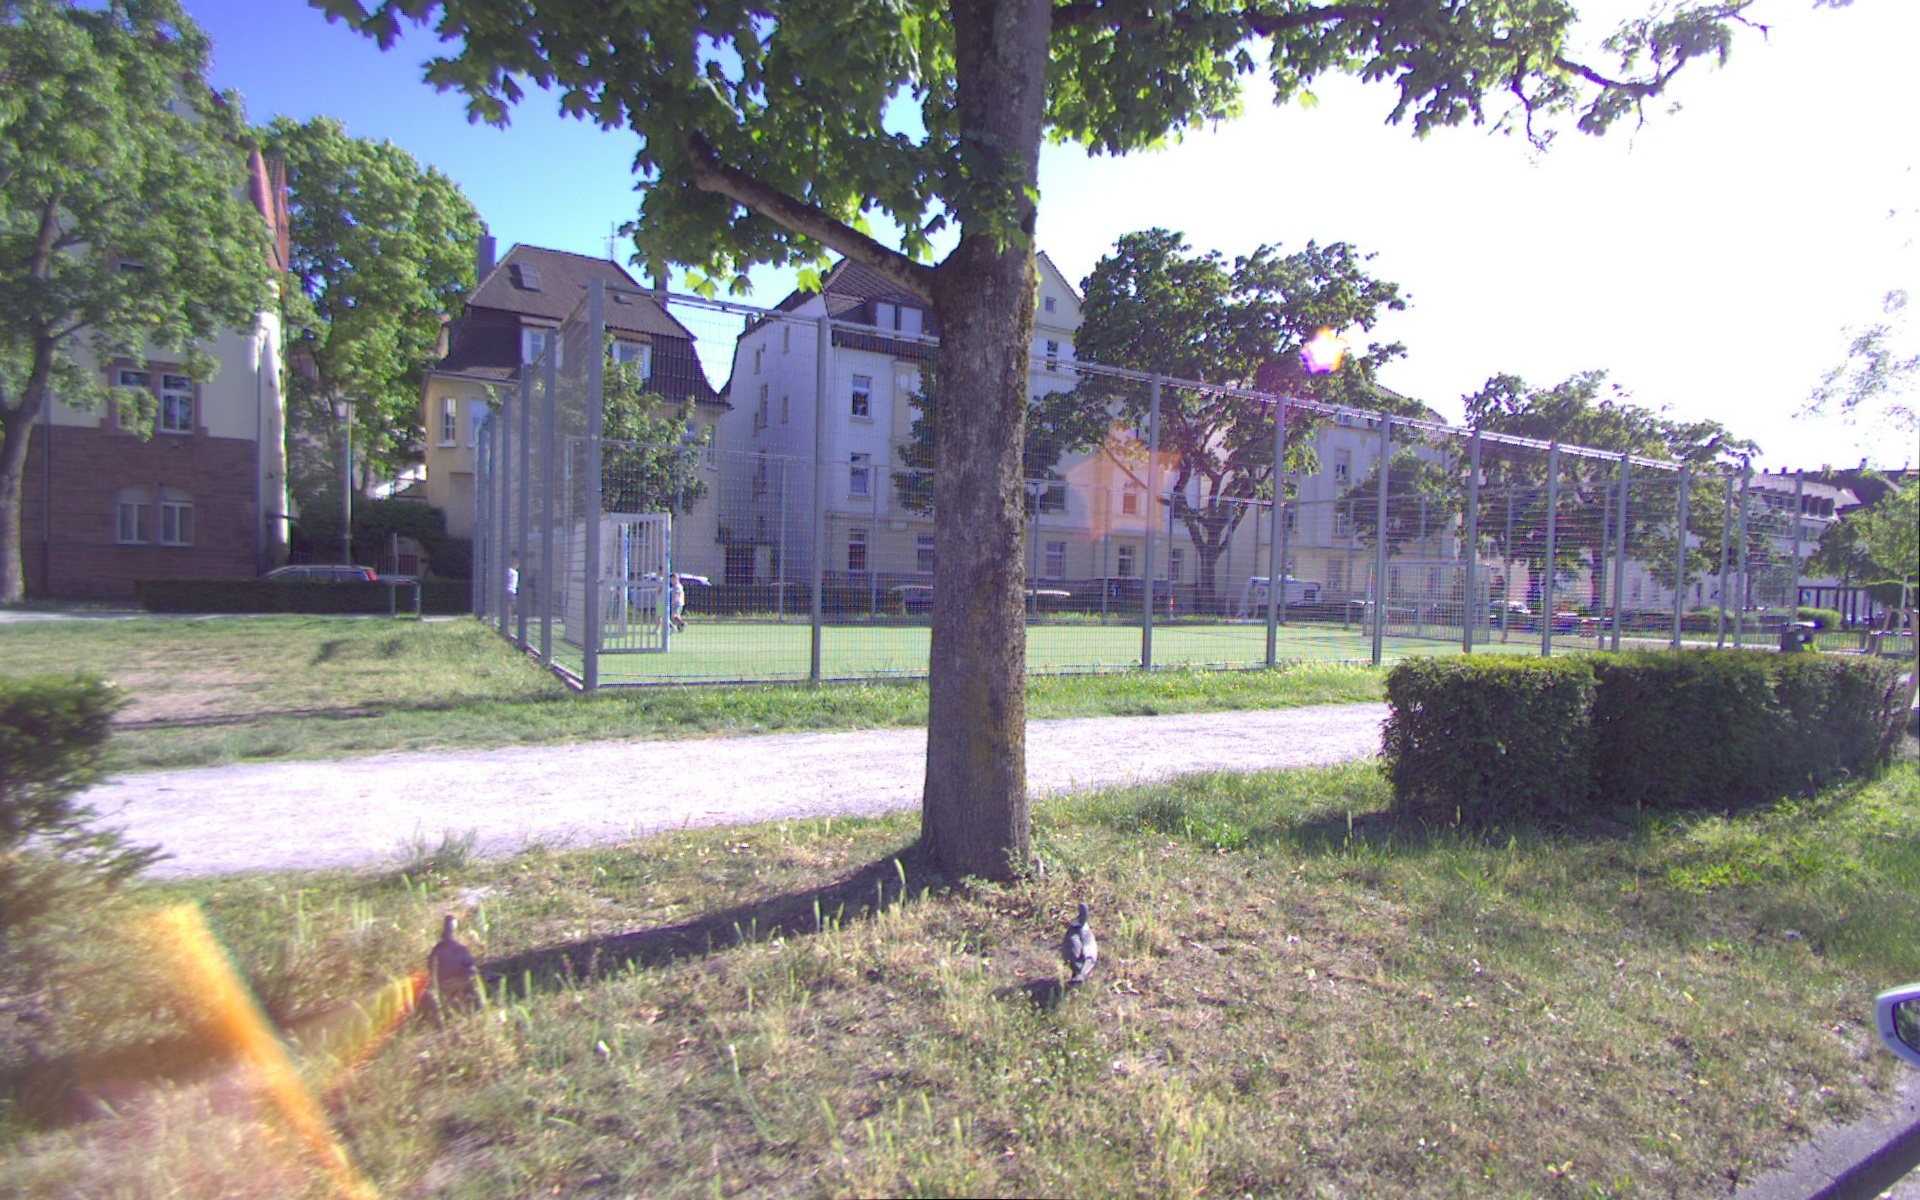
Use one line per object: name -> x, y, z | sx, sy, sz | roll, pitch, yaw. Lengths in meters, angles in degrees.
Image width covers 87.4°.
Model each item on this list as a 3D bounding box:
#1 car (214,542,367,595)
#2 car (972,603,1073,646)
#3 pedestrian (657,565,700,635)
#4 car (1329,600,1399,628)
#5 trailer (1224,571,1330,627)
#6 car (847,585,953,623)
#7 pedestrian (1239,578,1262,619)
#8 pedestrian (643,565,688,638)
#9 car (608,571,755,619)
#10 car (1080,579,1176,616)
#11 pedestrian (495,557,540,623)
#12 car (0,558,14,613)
car -> -21.319, -1.002, 32.184 | 3.953, 1.530, 1.785 | 1, 2, -30
car -> 2.906, 1.124, 46.440 | 4.436, 1.801, 1.785 | 1, 2, -30
pedestrian -> -5.540, -0.015, 19.805 | 0.637, 1.336, 0.650 | 2, 2, -1
car -> 24.117, 0.834, 59.956 | 3.953, 1.530, 1.785 | 1, 2, -30
trailer -> 17.692, -0.040, 55.950 | 5.736, 2.909, 2.331 | 1, 2, -31
car -> -2.565, 0.182, 43.233 | 4.182, 1.530, 1.785 | 1, 2, -30
pedestrian -> 12.256, -0.064, 42.418 | 0.642, 1.683, 0.645 | 1, 1, -30
pedestrian -> -5.550, 0.016, 18.970 | 0.637, 1.336, 0.650 | 2, 2, -1
car -> -10.605, -0.171, 38.377 | 5.121, 1.674, 1.872 | 1, 2, -30
car -> 7.472, -0.109, 44.632 | 3.953, 1.530, 1.785 | 1, 2, -30
pedestrian -> -9.232, -0.207, 20.956 | 0.637, 1.336, 0.650 | 2, 2, -1
car -> -28.945, -0.450, 27.601 | 3.953, 1.530, 1.785 | 1, 2, -30
